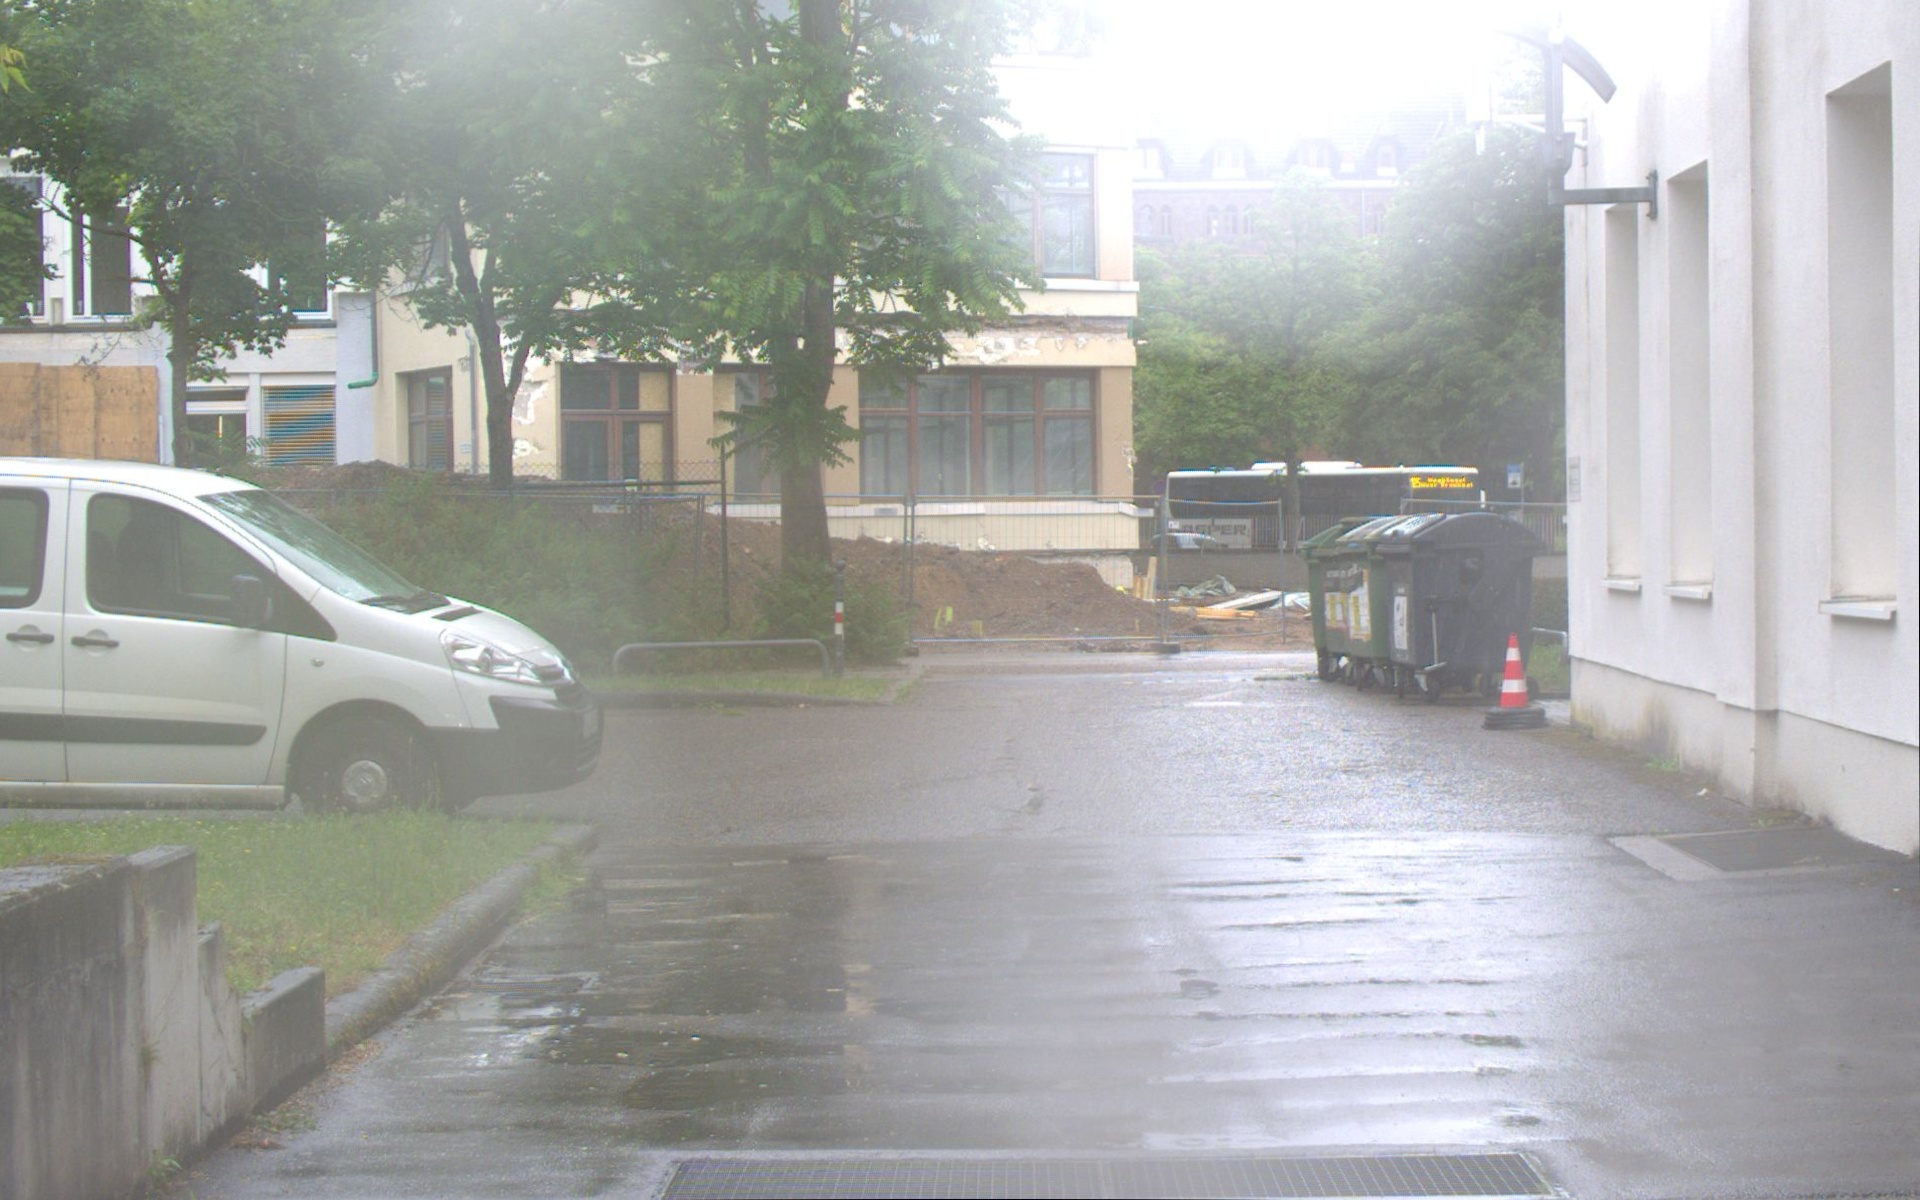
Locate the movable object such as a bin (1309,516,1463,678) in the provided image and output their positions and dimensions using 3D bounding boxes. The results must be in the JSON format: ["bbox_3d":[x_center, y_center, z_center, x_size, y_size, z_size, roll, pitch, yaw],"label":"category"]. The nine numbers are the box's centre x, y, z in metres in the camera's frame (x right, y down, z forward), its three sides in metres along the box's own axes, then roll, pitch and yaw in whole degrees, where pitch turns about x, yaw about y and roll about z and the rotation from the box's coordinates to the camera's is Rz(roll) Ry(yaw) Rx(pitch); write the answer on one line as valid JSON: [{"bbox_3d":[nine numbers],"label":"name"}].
[{"bbox_3d":[3.837,-0.015,31.096,1.214,1.432,1.259,0,-1,0],"label":"movable object such as a bin"}]

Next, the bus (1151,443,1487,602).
[{"bbox_3d":[9.539,-1.982,93.525,2.806,3.860,12.057,0,-1,-28],"label":"bus"}]

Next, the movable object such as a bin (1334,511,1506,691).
[{"bbox_3d":[3.740,0.016,28.088,1.214,1.432,1.294,0,-1,0],"label":"movable object such as a bin"}]

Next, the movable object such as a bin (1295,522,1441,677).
[{"bbox_3d":[3.844,0.006,32.475,1.214,1.432,1.259,0,-1,0],"label":"movable object such as a bin"}]

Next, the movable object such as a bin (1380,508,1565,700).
[{"bbox_3d":[3.917,0.040,26.391,1.214,1.432,1.236,0,-1,0],"label":"movable object such as a bin"}]

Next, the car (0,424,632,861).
[{"bbox_3d":[-4.198,0.199,17.322,4.780,2.006,2.000,-1,2,3],"label":"car"}]

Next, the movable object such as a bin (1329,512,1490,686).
[{"bbox_3d":[3.870,-0.001,29.718,1.214,1.463,1.236,0,-1,0],"label":"movable object such as a bin"}]
